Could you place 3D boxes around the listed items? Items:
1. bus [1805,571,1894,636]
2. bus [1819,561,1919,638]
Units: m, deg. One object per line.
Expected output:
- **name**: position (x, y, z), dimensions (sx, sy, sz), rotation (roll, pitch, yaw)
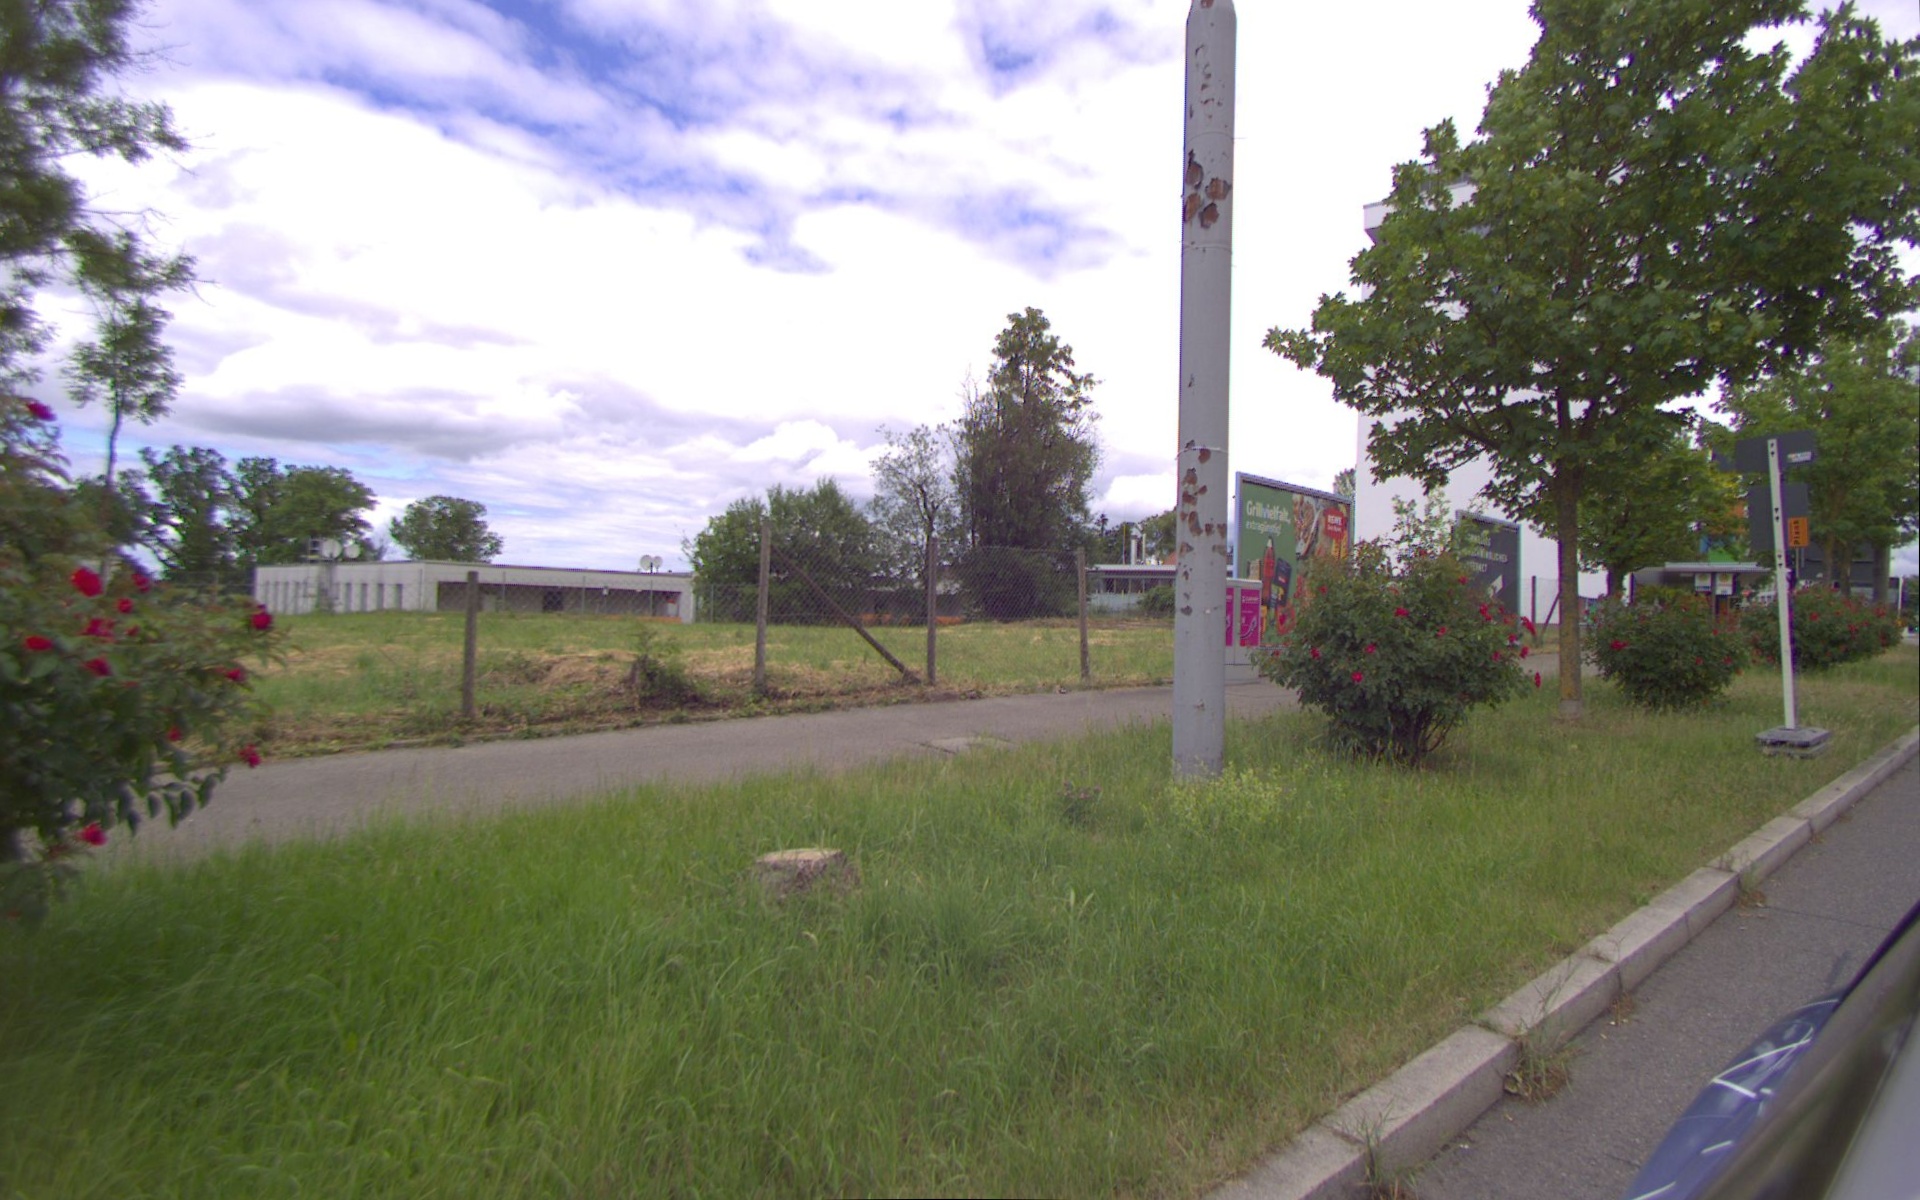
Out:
- **bus**: position (48.229, 0.218, 55.098), dimensions (2.707, 3.146, 8.750), rotation (5, 2, 37)
- **bus**: position (42.937, 0.035, 47.991), dimensions (2.707, 3.202, 9.002), rotation (5, 2, 37)
